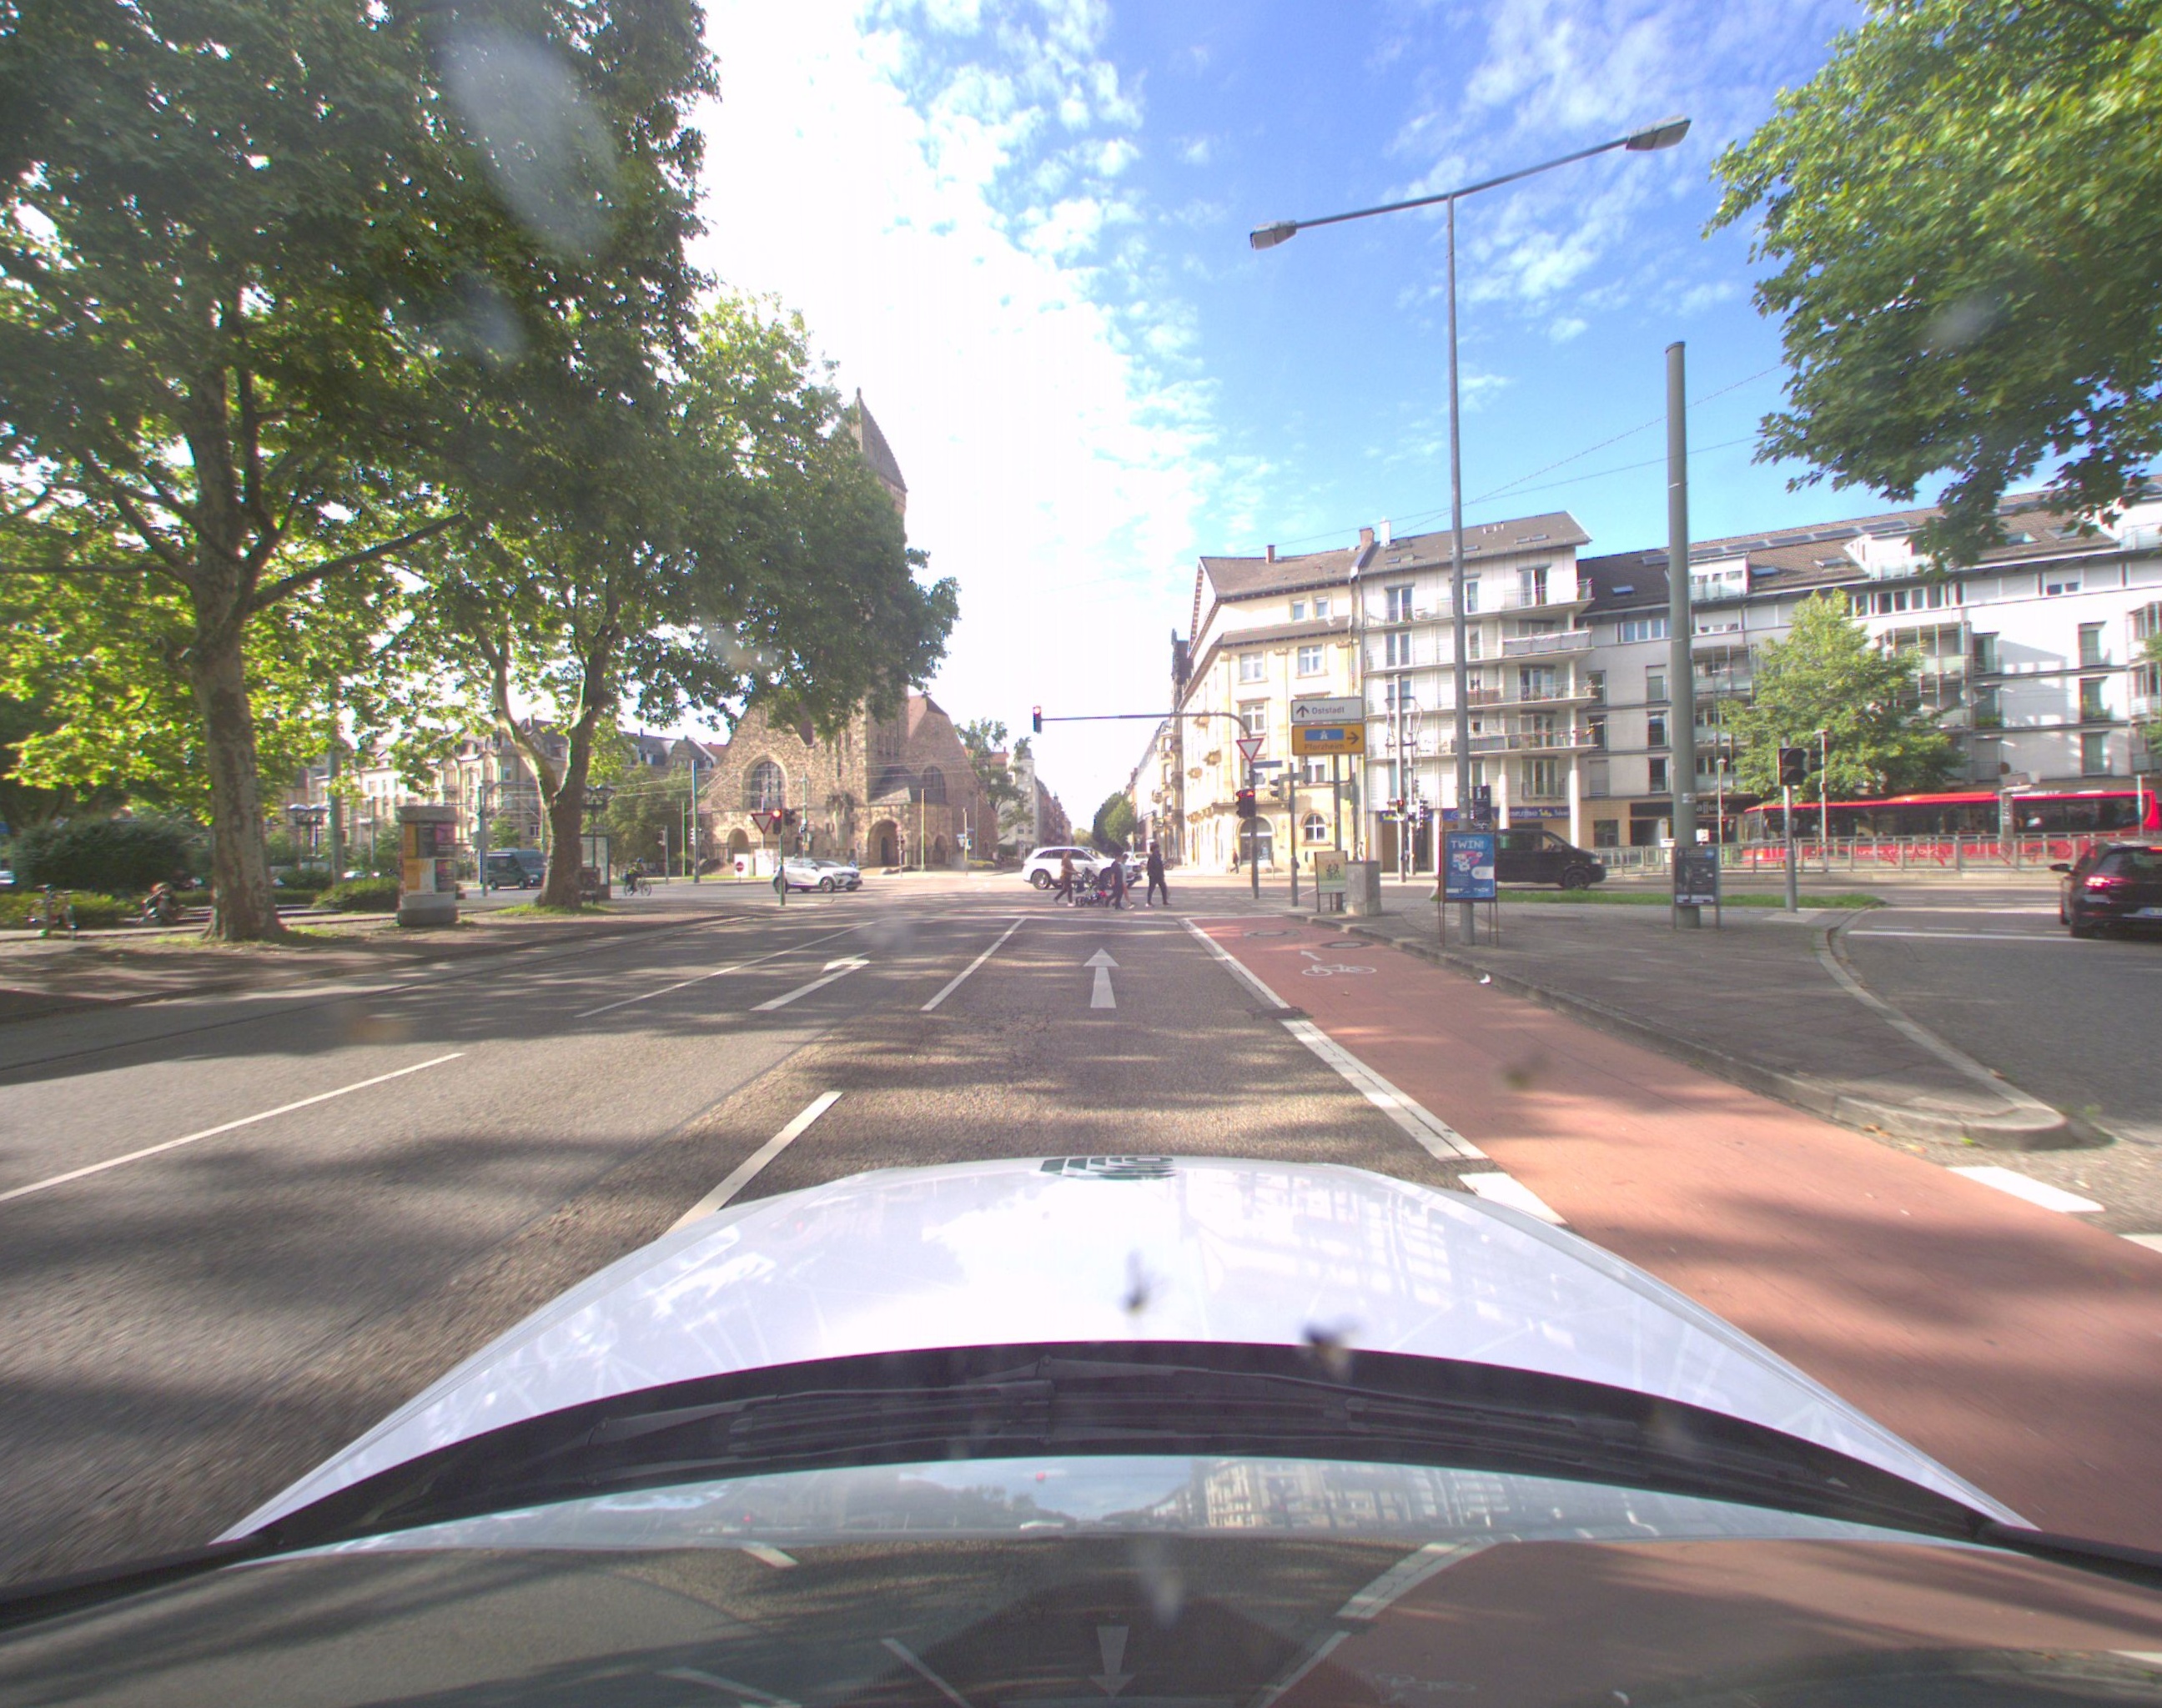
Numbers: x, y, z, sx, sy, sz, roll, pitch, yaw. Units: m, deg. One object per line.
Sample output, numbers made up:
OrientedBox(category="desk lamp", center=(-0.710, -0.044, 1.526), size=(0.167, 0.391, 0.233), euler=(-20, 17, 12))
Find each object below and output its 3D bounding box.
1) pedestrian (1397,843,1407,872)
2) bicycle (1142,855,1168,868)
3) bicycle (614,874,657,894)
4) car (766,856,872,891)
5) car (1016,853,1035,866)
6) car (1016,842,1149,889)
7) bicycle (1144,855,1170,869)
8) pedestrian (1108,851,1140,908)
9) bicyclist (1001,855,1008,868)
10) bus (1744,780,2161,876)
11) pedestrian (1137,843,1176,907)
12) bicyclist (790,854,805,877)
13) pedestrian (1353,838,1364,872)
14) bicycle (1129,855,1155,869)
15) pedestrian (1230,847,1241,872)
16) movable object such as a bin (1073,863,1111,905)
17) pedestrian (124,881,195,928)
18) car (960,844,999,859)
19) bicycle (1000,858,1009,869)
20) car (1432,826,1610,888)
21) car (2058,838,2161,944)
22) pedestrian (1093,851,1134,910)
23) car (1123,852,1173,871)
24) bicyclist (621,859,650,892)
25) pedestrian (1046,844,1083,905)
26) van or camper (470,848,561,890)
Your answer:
OrientedBox(category="pedestrian", center=(19.386, 0.220, 49.200), size=(0.491, 1.714, 0.530), euler=(1, 0, 26))
OrientedBox(category="bicycle", center=(6.086, 0.610, 66.778), size=(2.021, 1.082, 0.629), euler=(-1, 0, -9))
OrientedBox(category="bicycle", center=(-20.375, 1.391, 37.245), size=(1.707, 0.876, 0.709), euler=(-1, 0, 20))
OrientedBox(category="car", center=(-11.746, 0.884, 36.551), size=(4.211, 1.479, 1.908), euler=(-1, 0, 21))
OrientedBox(category="car", center=(-6.782, 0.710, 100.197), size=(1.986, 1.497, 4.001), euler=(-1, 0, 1))
OrientedBox(category="car", center=(0.085, 0.435, 31.395), size=(4.666, 1.683, 2.027), euler=(-1, 0, 21))
OrientedBox(category="bicycle", center=(6.177, 0.614, 66.104), size=(2.021, 1.082, 0.618), euler=(-1, 0, -9))
OrientedBox(category="pedestrian", center=(1.118, 0.654, 21.094), size=(0.649, 1.432, 0.501), euler=(-1, 0, 24))
OrientedBox(category="bicyclist", center=(-8.373, 0.848, 89.063), size=(0.681, 1.367, 0.780), euler=(-1, 0, 1))
OrientedBox(category="bus", center=(35.894, -0.941, 34.149), size=(12.151, 3.548, 3.046), euler=(-1, 0, 24))
OrientedBox(category="pedestrian", center=(1.999, 0.544, 21.548), size=(0.774, 1.662, 0.783), euler=(-1, 0, 24))
OrientedBox(category="bicyclist", center=(-20.537, 0.827, 59.052), size=(0.717, 1.662, 0.724), euler=(-1, 0, 43))
OrientedBox(category="pedestrian", center=(17.243, 0.063, 50.642), size=(0.520, 2.093, 0.500), euler=(1, 0, 27))
OrientedBox(category="bicycle", center=(4.976, 0.628, 66.097), size=(2.021, 1.082, 0.618), euler=(-1, 0, -9))
OrientedBox(category="pedestrian", center=(10.212, 0.370, 53.824), size=(0.557, 1.623, 0.603), euler=(-1, 0, 23))
OrientedBox(category="movable object such as a bin", center=(0.302, 0.810, 22.086), size=(0.830, 1.123, 0.579), euler=(-1, 0, 24))
OrientedBox(category="pedestrian", center=(-20.986, 1.131, 18.566), size=(0.751, 0.979, 1.046), euler=(-1, 0, 42))
OrientedBox(category="car", center=(-11.597, -0.319, 92.975), size=(4.019, 1.596, 1.848), euler=(-1, 0, -38))
OrientedBox(category="bicycle", center=(-8.371, 1.055, 89.185), size=(0.688, 1.181, 1.919), euler=(-1, 0, 1))
OrientedBox(category="car", center=(13.952, 0.116, 26.202), size=(4.802, 1.871, 2.042), euler=(-1, 0, 21))
OrientedBox(category="car", center=(15.981, 0.475, 12.159), size=(4.020, 1.413, 1.737), euler=(-1, 0, -39))
OrientedBox(category="pedestrian", center=(0.830, 0.661, 20.538), size=(0.774, 1.432, 0.735), euler=(-1, 0, 24))
OrientedBox(category="car", center=(5.629, 0.621, 68.466), size=(3.977, 1.420, 1.998), euler=(-1, 0, -2))
OrientedBox(category="bicyclist", center=(-20.352, 0.985, 37.233), size=(0.874, 1.503, 0.719), euler=(-1, 0, 19))
OrientedBox(category="pedestrian", center=(-0.460, 0.555, 22.471), size=(0.807, 1.629, 0.608), euler=(-1, 0, 26))
OrientedBox(category="van or camper", center=(-34.814, 0.905, 50.137), size=(5.402, 2.434, 2.197), euler=(-1, 0, 26))
